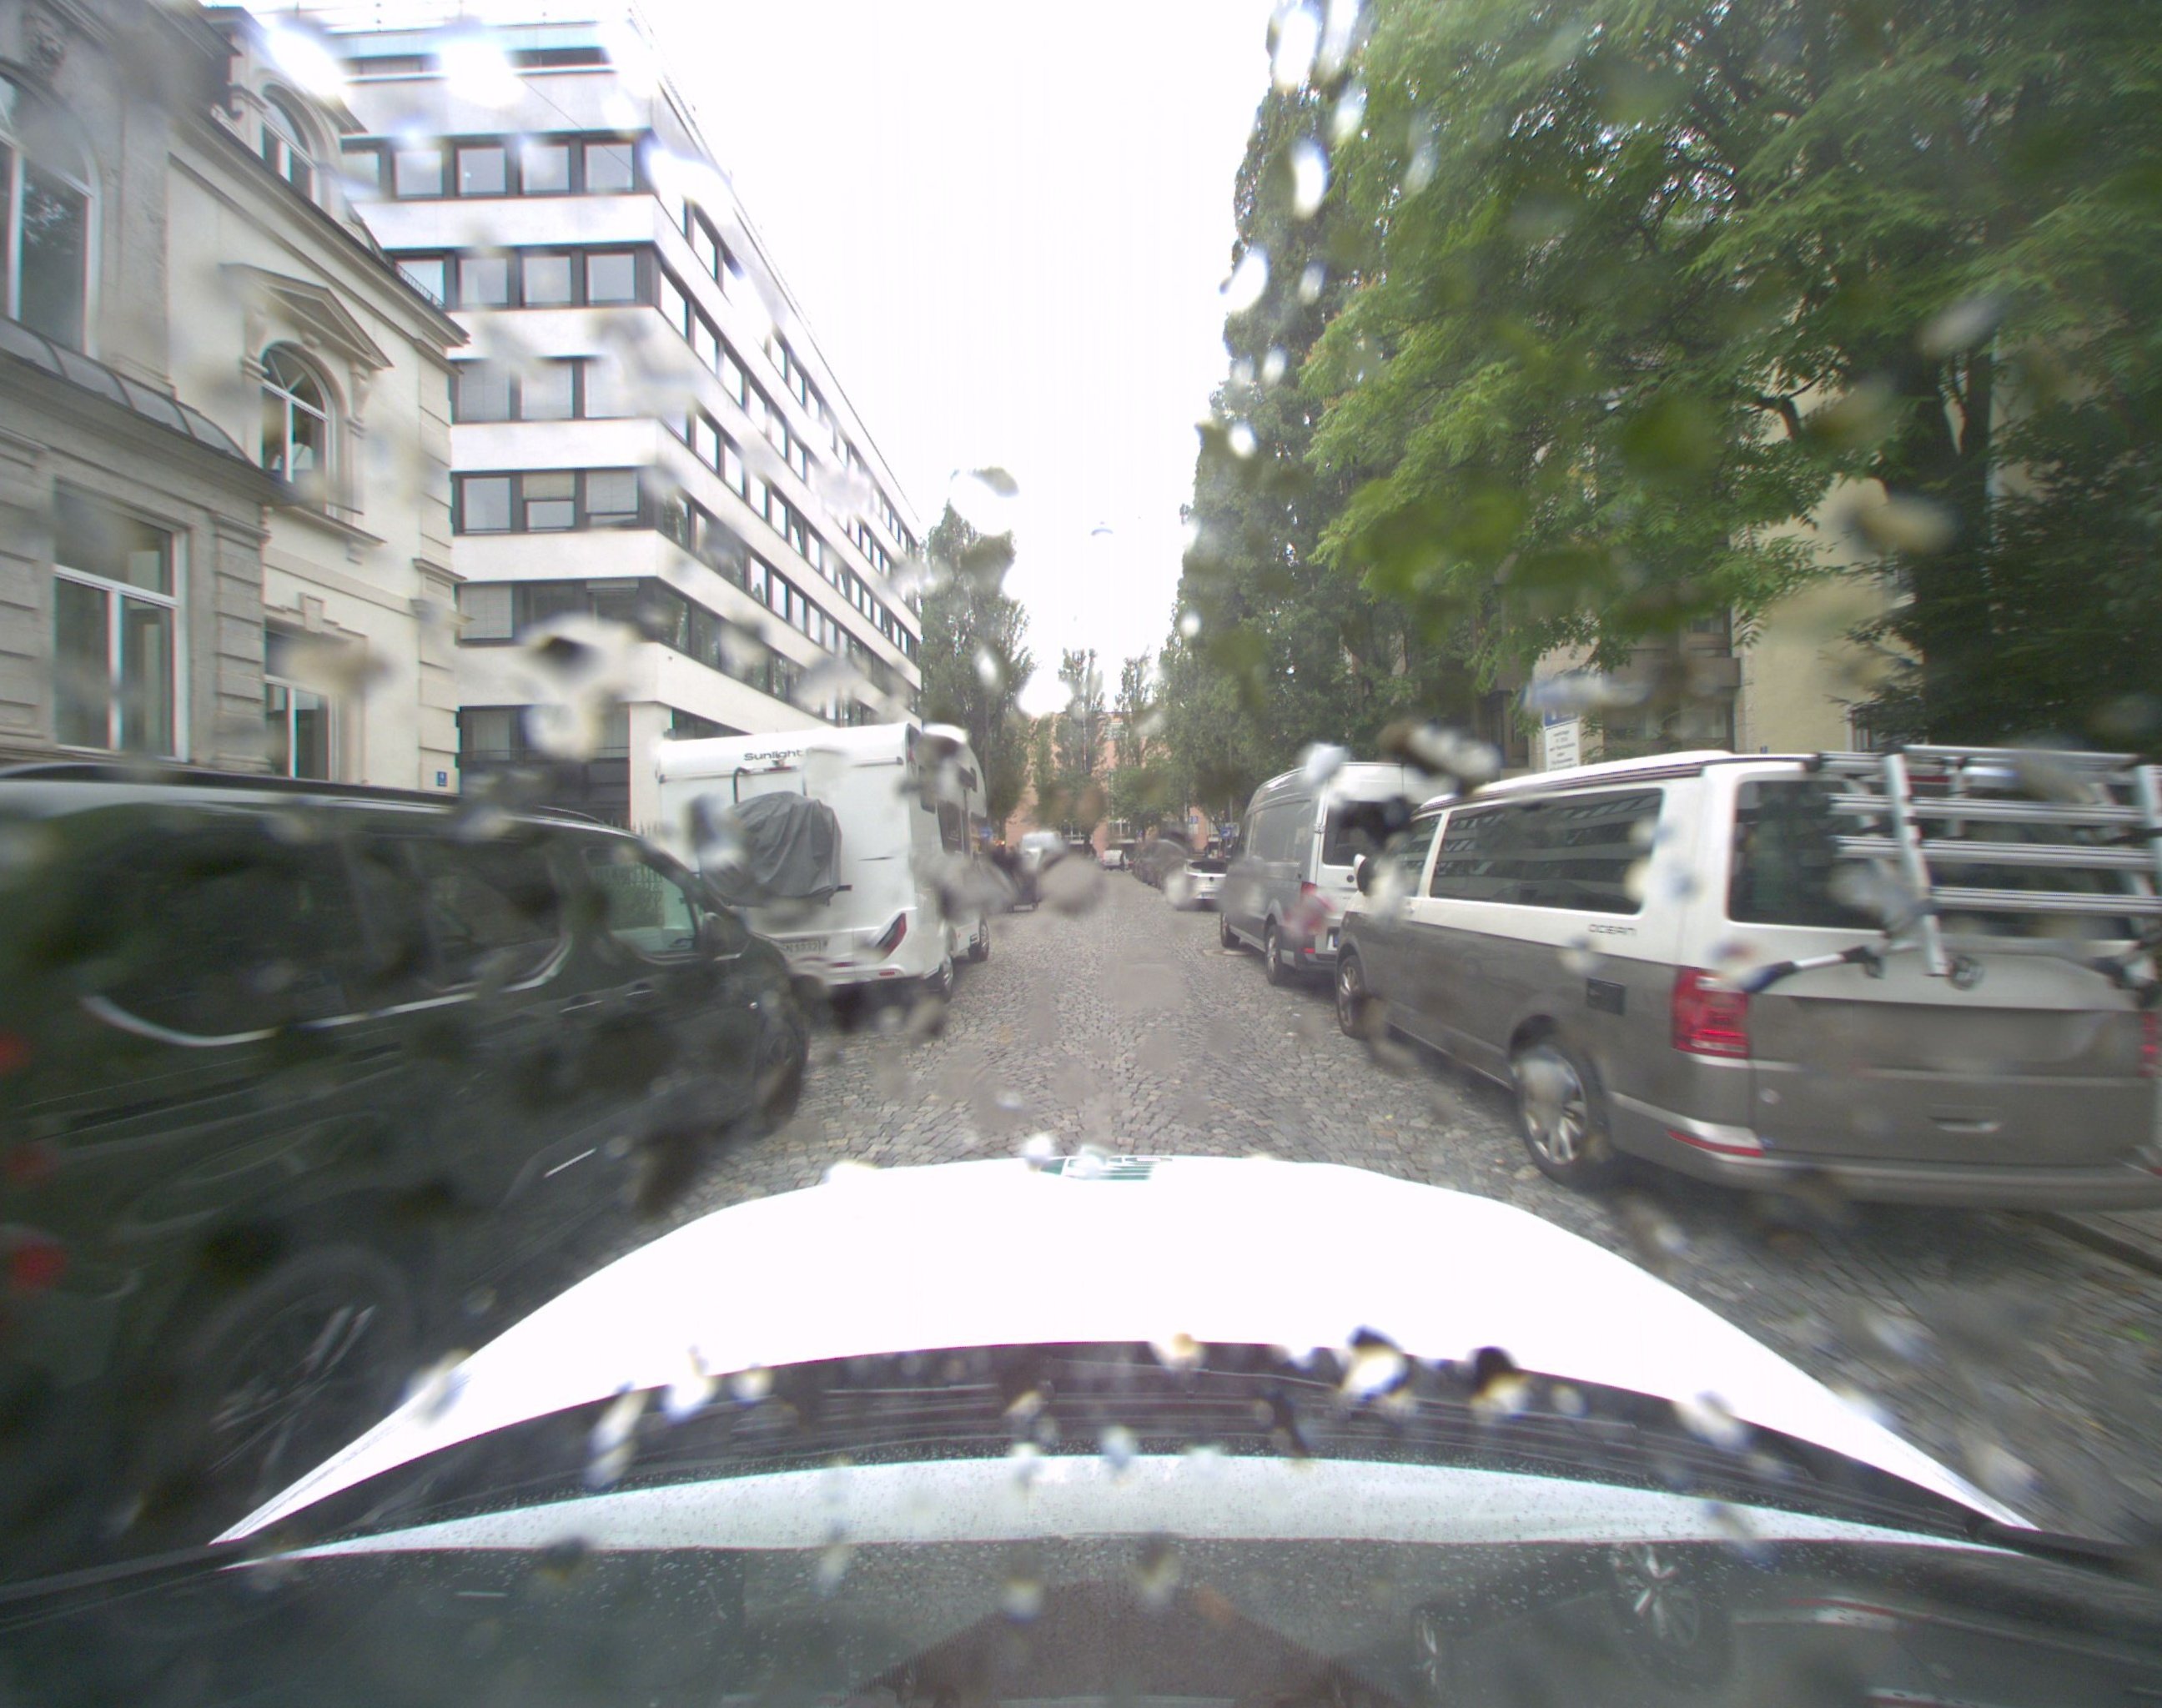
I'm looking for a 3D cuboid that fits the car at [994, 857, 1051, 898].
[{"bbox_3d":[-2.026,0.791,28.977,1.656,1.329,3.549,-1,-1,2],"label":"car"}]

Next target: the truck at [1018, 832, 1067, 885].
[{"bbox_3d":[-1.751,0.209,38.663,1.986,2.347,4.069,-1,-1,1],"label":"truck"}]

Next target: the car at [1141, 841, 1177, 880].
[{"bbox_3d":[4.241,0.368,44.657,1.736,2.031,3.868,-1,-1,3],"label":"car"}]

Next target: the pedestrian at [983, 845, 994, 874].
[{"bbox_3d":[-5.939,0.339,52.306,0.600,1.878,0.548,-1,-1,1],"label":"pedestrian"}]

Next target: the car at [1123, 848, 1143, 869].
[{"bbox_3d":[4.312,0.403,67.553,1.466,1.706,3.118,-1,-1,0],"label":"car"}]

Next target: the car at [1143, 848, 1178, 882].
[{"bbox_3d":[3.947,0.536,40.819,1.628,1.604,3.274,0,-1,3],"label":"car"}]

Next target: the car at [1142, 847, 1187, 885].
[{"bbox_3d":[3.744,0.523,36.919,1.860,1.604,3.274,-1,-1,3],"label":"car"}]

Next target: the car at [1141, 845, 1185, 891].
[{"bbox_3d":[3.213,0.533,32.323,1.465,1.706,3.120,-1,-1,2],"label":"car"}]

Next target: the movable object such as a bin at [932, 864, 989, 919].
[{"bbox_3d":[-3.051,0.939,20.765,1.229,1.363,1.111,-1,-1,1],"label":"movable object such as a bin"}]

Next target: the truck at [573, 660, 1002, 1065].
[{"bbox_3d":[-2.605,0.048,9.558,2.500,3.031,6.385,-3,0,0],"label":"truck"}]

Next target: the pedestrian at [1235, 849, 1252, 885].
[{"bbox_3d":[8.129,0.639,40.758,0.708,1.804,0.814,-1,-1,3],"label":"pedestrian"}]

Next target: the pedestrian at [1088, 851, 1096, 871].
[{"bbox_3d":[0.959,0.602,69.201,0.685,1.687,0.500,-1,-1,0],"label":"pedestrian"}]

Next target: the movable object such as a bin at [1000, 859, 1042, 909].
[{"bbox_3d":[-1.692,0.834,23.284,1.060,1.363,1.290,-1,-1,1],"label":"movable object such as a bin"}]

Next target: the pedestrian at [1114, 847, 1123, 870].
[{"bbox_3d":[3.111,0.369,67.682,0.722,1.910,0.641,-1,-1,3],"label":"pedestrian"}]

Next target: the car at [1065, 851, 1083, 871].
[{"bbox_3d":[-0.541,0.557,64.115,1.272,1.541,3.120,-1,-1,2],"label":"car"}]

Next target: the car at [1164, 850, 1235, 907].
[{"bbox_3d":[3.344,0.670,23.456,1.594,1.486,3.479,-1,-1,1],"label":"car"}]

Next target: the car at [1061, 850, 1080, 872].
[{"bbox_3d":[-0.739,0.519,59.201,1.286,1.540,3.120,-1,-1,2],"label":"car"}]

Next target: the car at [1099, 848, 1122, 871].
[{"bbox_3d":[2.690,0.492,73.633,1.988,1.936,4.003,-1,-1,3],"label":"car"}]

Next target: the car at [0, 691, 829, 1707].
[{"bbox_3d":[-2.658,0.643,3.335,1.888,1.751,4.167,-2,0,0],"label":"car"}]

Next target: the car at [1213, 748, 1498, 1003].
[{"bbox_3d":[3.149,0.193,10.804,1.888,2.426,5.612,2,0,1],"label":"car"}]

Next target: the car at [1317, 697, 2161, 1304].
[{"bbox_3d":[3.061,0.498,5.106,1.794,1.949,4.861,2,0,1],"label":"car"}]

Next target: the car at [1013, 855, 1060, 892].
[{"bbox_3d":[-1.816,0.785,34.144,1.656,1.455,3.549,-1,-1,2],"label":"car"}]

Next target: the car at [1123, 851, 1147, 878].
[{"bbox_3d":[3.542,0.688,54.071,1.465,1.706,3.120,-1,-1,2],"label":"car"}]

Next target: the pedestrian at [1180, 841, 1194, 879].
[{"bbox_3d":[6.165,0.359,47.468,0.708,2.191,0.814,-1,-1,3],"label":"pedestrian"}]

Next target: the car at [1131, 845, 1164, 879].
[{"bbox_3d":[4.043,0.462,49.814,1.860,1.961,4.003,-1,-1,3],"label":"car"}]

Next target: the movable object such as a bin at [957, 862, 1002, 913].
[{"bbox_3d":[-2.798,0.909,22.658,1.069,1.363,1.273,-1,-1,0],"label":"movable object such as a bin"}]

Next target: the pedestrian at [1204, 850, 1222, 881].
[{"bbox_3d":[7.362,0.640,45.325,0.789,1.719,0.854,-1,-1,-4],"label":"pedestrian"}]

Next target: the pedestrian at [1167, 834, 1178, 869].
[{"bbox_3d":[6.453,-0.152,57.495,0.708,2.426,0.814,-1,-1,3],"label":"pedestrian"}]
